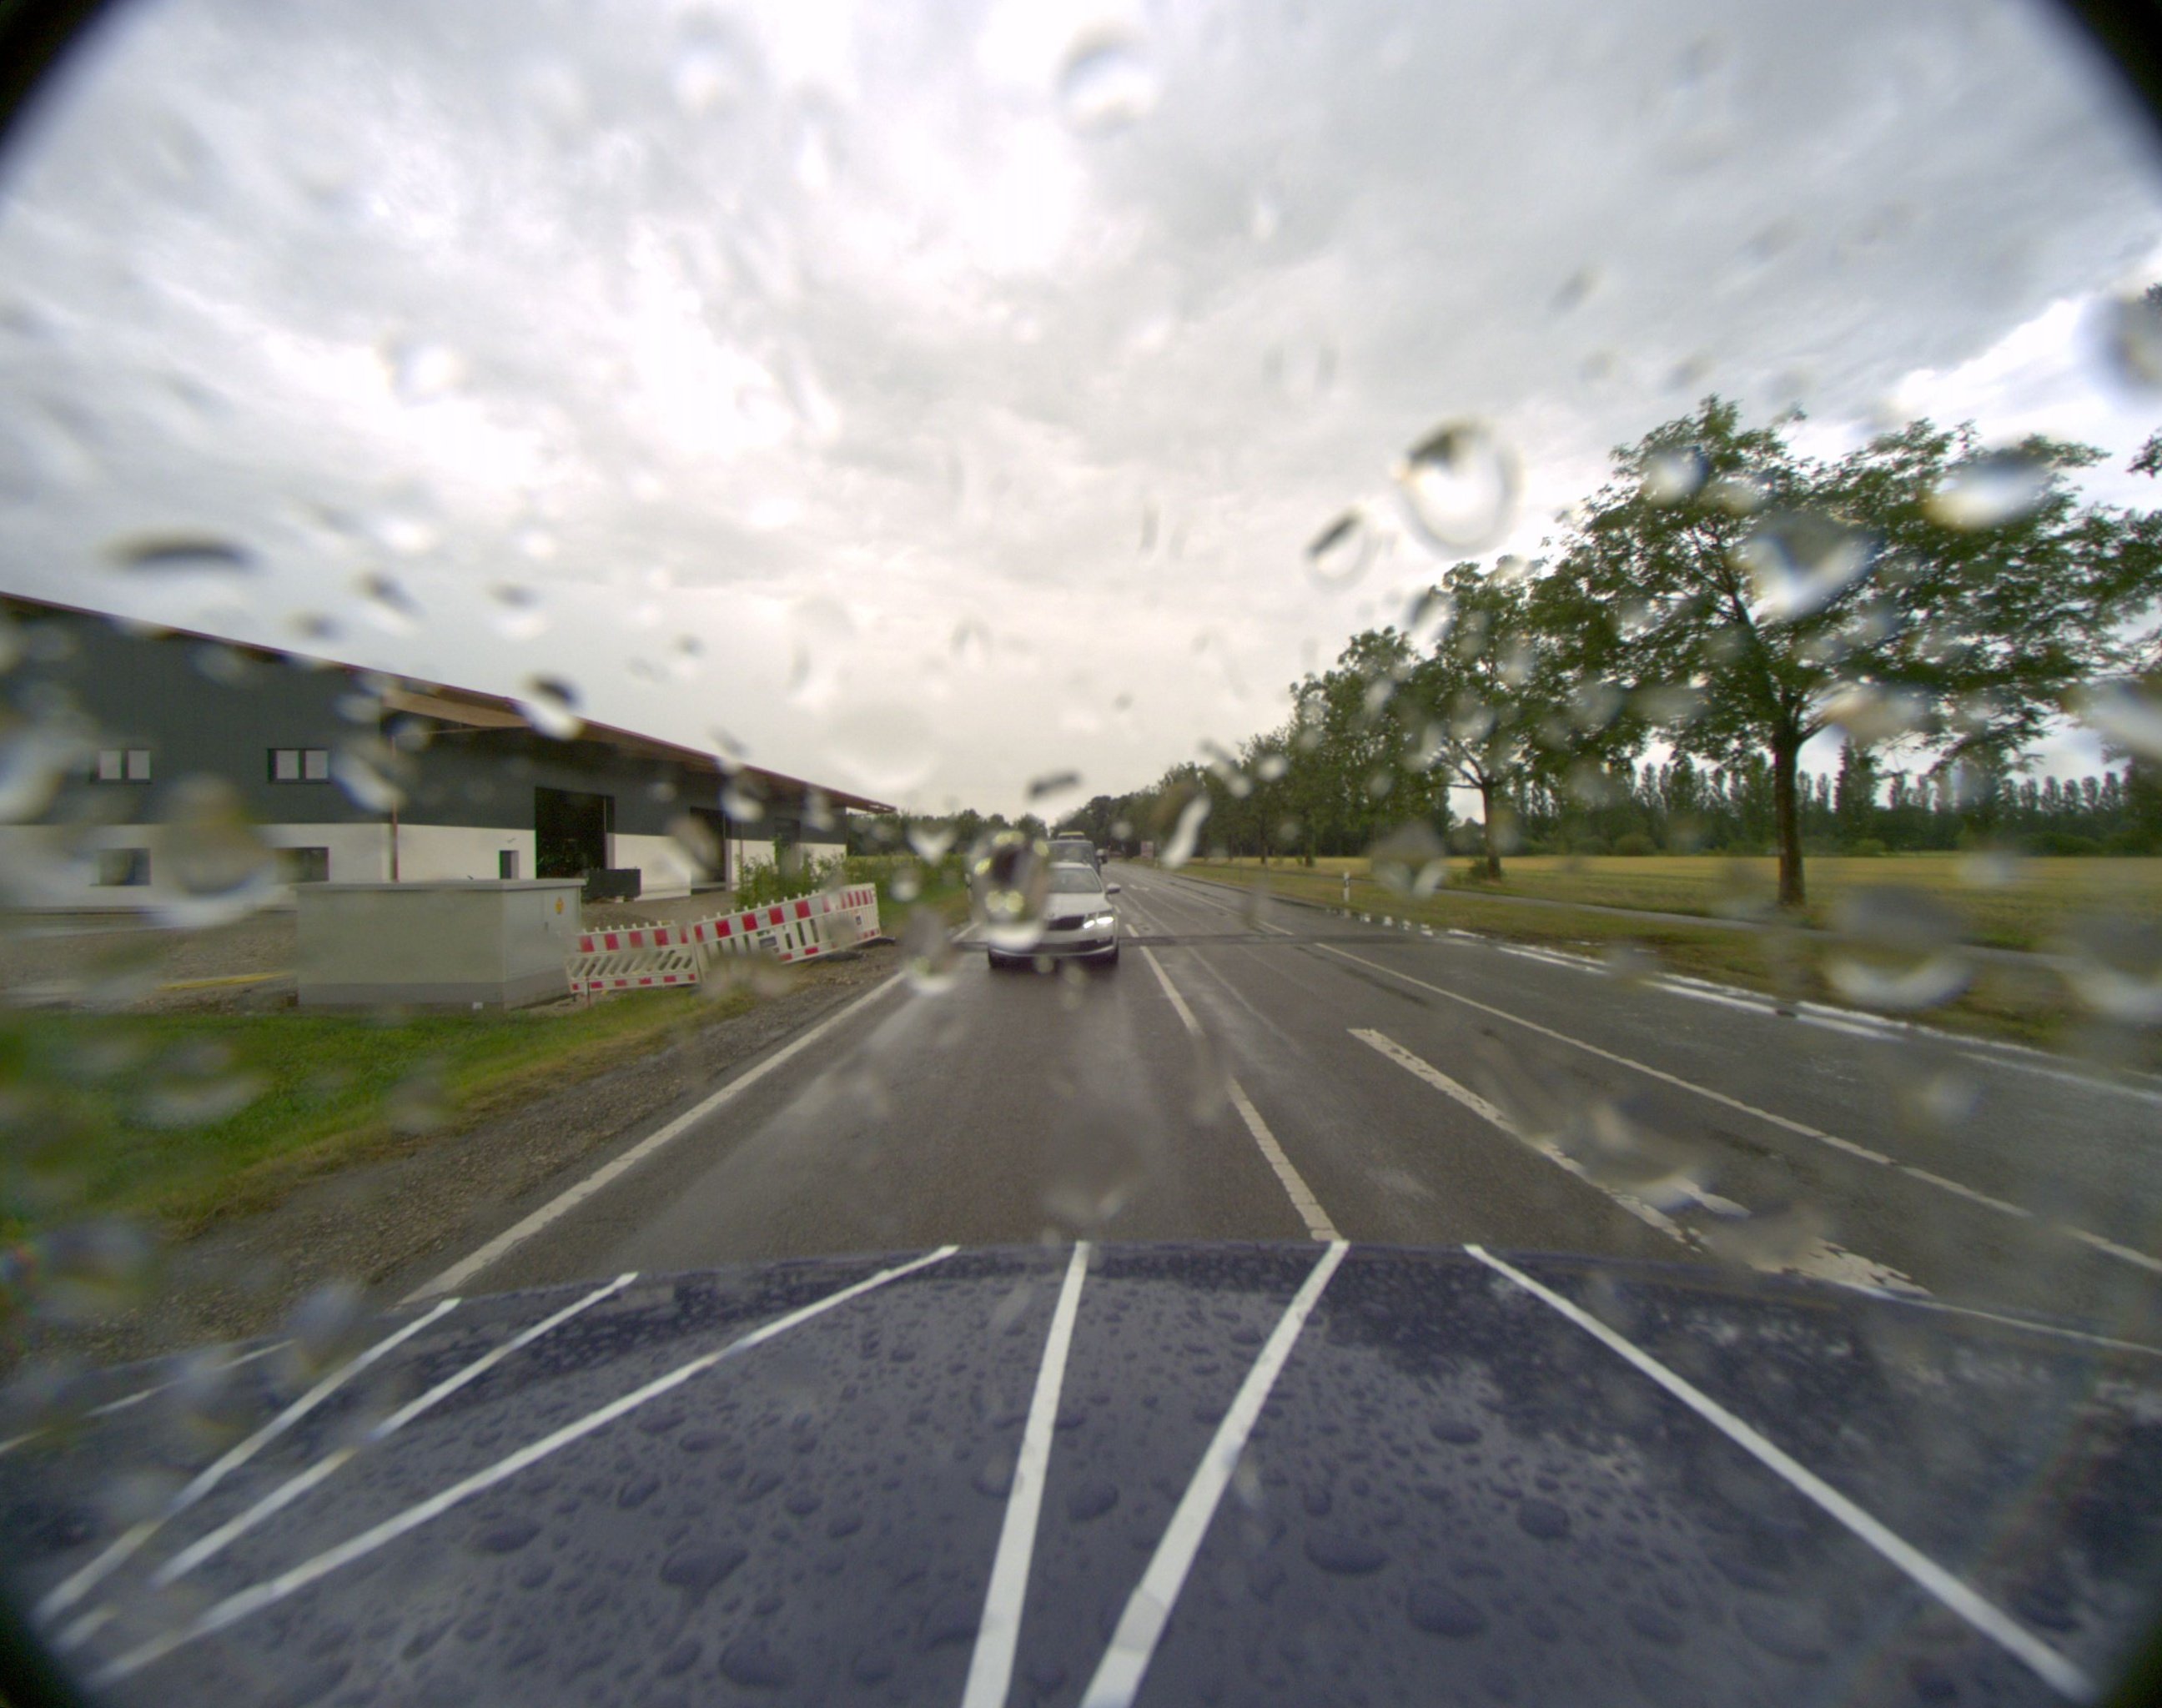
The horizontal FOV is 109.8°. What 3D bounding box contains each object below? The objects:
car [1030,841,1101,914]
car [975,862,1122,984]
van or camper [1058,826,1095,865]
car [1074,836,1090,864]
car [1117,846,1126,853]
[{"bbox_3d":[-0.413,0.594,22.164,1.841,1.888,4.575,0,1,0],"label":"car"},{"bbox_3d":[-0.402,0.881,11.669,1.770,1.365,4.575,-2,1,0],"label":"car"},{"bbox_3d":[-0.417,-0.846,74.482,3.342,3.624,8.371,0,1,0],"label":"van or camper"},{"bbox_3d":[0.073,-0.443,86.280,1.771,3.134,4.027,0,1,-1],"label":"car"},{"bbox_3d":[10.699,-1.194,200.362,1.999,2.002,3.997,-1,1,-5],"label":"car"}]
